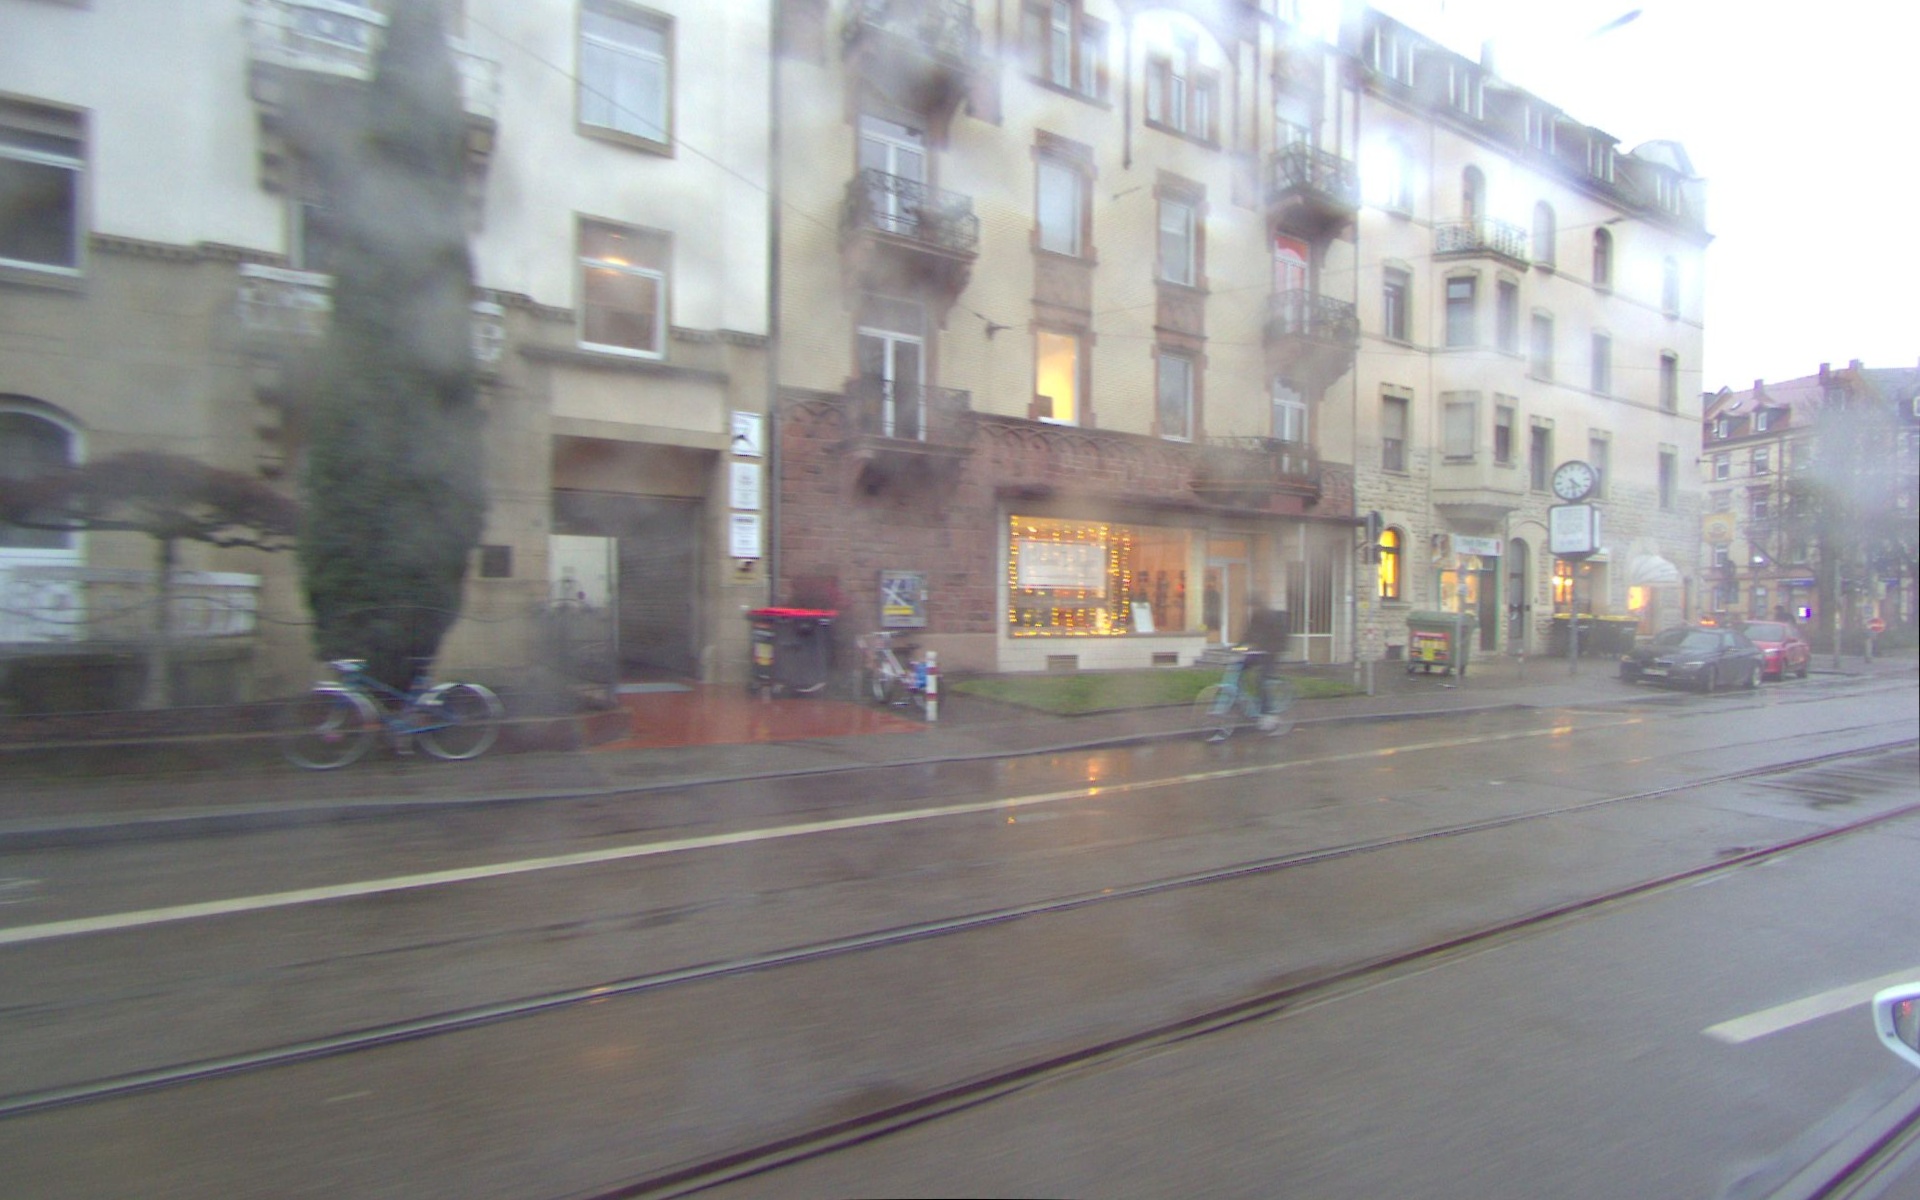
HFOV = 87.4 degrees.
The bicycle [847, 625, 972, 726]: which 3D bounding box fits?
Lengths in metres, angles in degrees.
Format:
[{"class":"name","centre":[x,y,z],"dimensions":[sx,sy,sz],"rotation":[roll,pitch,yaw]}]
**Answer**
[{"class":"bicycle","centre":[-0.743,0.977,13.738],"dimensions":[0.687,1.120,2.337],"rotation":[1,2,-30]}]

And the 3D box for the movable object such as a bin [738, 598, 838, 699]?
[{"class":"movable object such as a bin","centre":[-2.613,0.704,15.214],"dimensions":[1.154,1.398,1.097],"rotation":[1,3,-31]}]

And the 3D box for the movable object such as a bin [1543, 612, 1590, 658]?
[{"class":"movable object such as a bin","centre":[18.927,1.090,31.372],"dimensions":[0.995,1.396,0.894],"rotation":[1,0,-32]}]

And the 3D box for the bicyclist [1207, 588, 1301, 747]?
[{"class":"bicyclist","centre":[3.673,0.816,12.565],"dimensions":[0.979,1.901,0.620],"rotation":[1,0,-30]}]

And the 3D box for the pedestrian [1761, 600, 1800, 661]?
[{"class":"pedestrian","centre":[27.679,1.018,33.894],"dimensions":[0.635,2.040,0.758],"rotation":[1,0,4]}]

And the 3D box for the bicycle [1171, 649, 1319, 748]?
[{"class":"bicycle","centre":[3.571,1.193,12.511],"dimensions":[1.925,1.107,0.620],"rotation":[1,0,-30]}]

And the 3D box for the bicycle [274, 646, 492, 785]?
[{"class":"bicycle","centre":[-5.134,0.990,9.019],"dimensions":[1.643,1.107,0.620],"rotation":[1,0,-30]}]

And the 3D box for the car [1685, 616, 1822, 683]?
[{"class":"car","centre":[22.245,1.313,28.138],"dimensions":[3.994,1.573,2.022],"rotation":[0,4,-37]}]

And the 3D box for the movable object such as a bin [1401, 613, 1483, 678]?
[{"class":"movable object such as a bin","centre":[11.268,1.037,23.511],"dimensions":[1.236,1.439,1.261],"rotation":[1,0,-31]}]

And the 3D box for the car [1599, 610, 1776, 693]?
[{"class":"car","centre":[17.689,1.212,24.366],"dimensions":[4.585,1.667,1.973],"rotation":[2,4,-35]}]

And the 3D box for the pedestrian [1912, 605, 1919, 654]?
[{"class":"pedestrian","centre":[39.832,1.215,41.466],"dimensions":[0.696,2.040,0.658],"rotation":[1,0,39]}]

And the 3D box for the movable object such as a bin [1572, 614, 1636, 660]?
[{"class":"movable object such as a bin","centre":[20.254,1.161,31.609],"dimensions":[1.238,1.385,1.287],"rotation":[1,0,-32]}]
